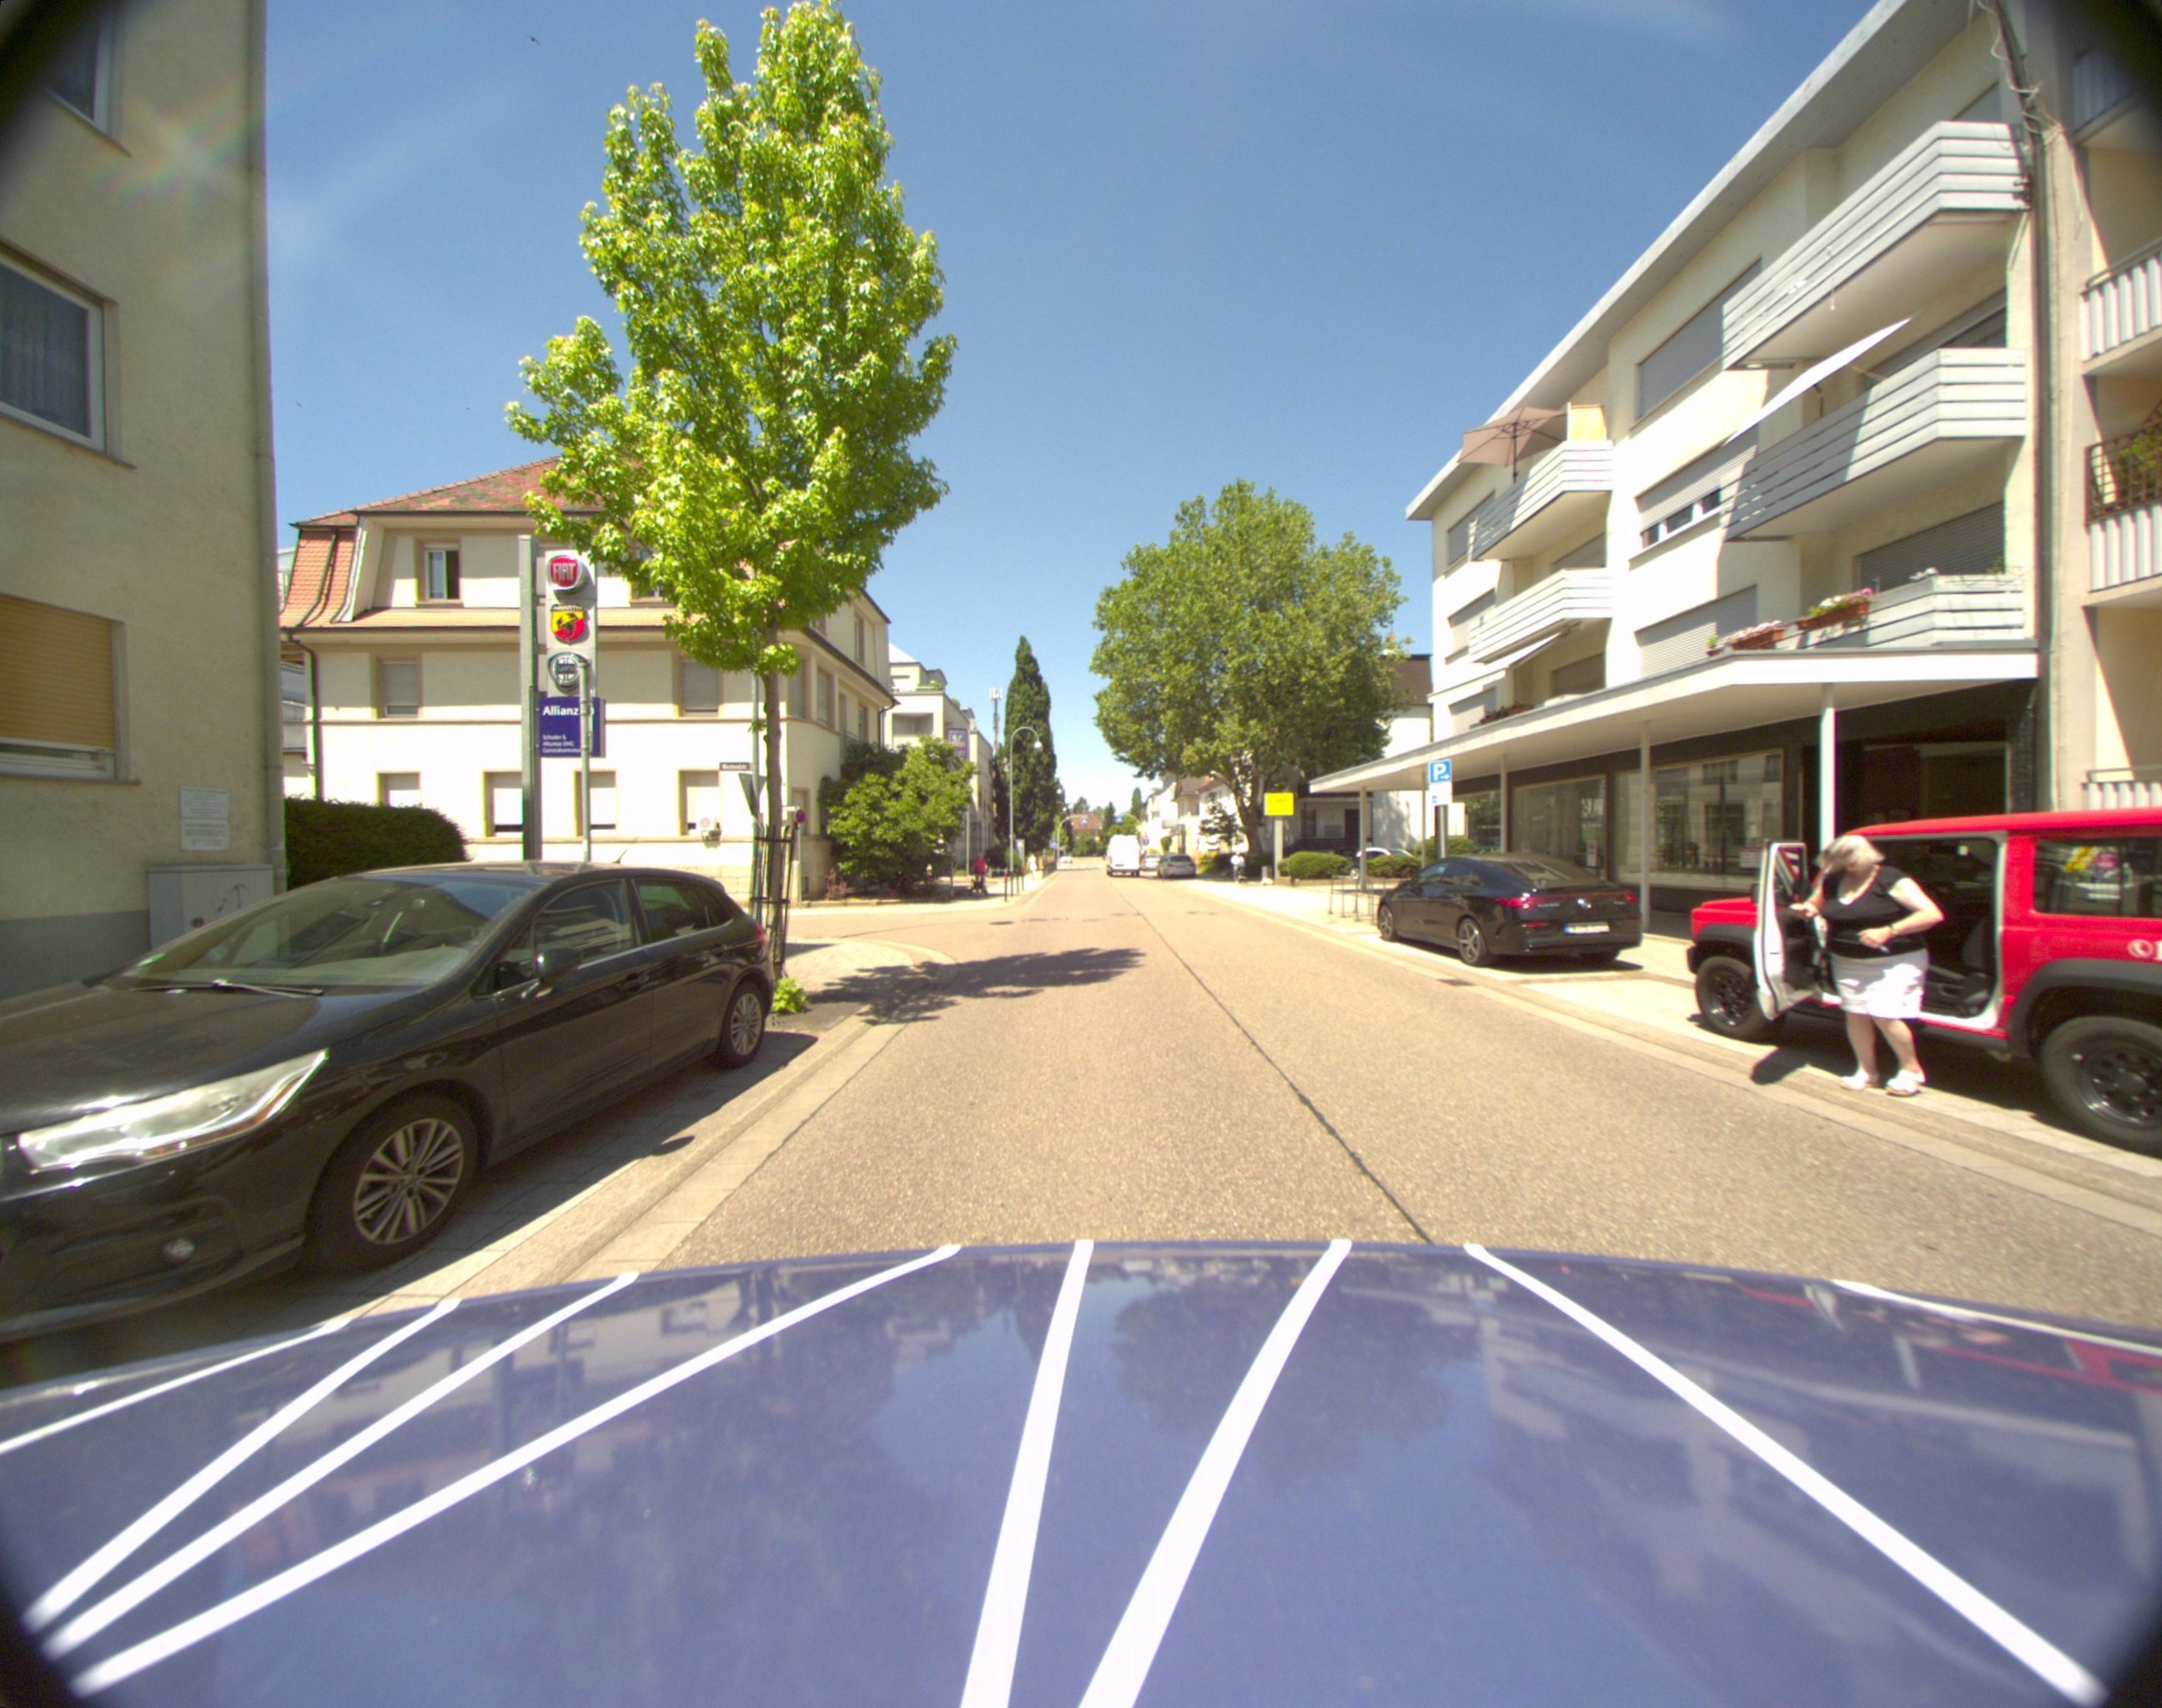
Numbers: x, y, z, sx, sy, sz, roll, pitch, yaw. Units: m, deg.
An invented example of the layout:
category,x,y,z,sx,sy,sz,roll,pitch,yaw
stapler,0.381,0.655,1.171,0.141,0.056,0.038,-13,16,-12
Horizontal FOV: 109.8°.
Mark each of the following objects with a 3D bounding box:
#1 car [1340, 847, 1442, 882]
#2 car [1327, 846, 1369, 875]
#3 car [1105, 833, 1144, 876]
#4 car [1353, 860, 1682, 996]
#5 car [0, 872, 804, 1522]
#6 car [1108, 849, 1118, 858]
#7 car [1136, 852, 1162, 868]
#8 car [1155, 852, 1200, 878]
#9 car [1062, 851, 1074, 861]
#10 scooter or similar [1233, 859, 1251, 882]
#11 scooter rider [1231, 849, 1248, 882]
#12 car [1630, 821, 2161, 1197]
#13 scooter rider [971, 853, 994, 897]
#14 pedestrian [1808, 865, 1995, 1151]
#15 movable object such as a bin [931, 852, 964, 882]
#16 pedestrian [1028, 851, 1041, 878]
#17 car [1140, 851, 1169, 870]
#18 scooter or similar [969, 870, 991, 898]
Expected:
category,x,y,z,sx,sy,sz,roll,pitch,yaw
car,14.000,0.447,34.547,1.900,1.478,3.986,-1,0,-30
car,14.976,0.316,42.865,1.809,1.536,4.109,0,1,13
car,2.823,0.028,51.109,2.042,2.614,7.106,1,0,-1
car,5.896,0.867,11.202,1.901,1.409,5.047,-3,0,0
car,-3.361,0.880,4.106,1.900,1.430,4.544,0,0,2
car,6.849,-0.141,162.425,1.925,1.681,4.287,-3,0,2
car,6.224,0.550,69.961,1.947,1.365,5.098,-1,0,1
car,5.815,0.626,46.276,1.986,1.444,5.150,-2,0,0
car,-2.070,0.319,123.814,1.920,1.460,4.880,0,0,0
scooter or similar,7.823,0.797,36.916,0.665,1.092,1.028,-3,0,2
scooter rider,7.829,0.576,37.530,0.590,1.566,0.877,-3,0,2
car,5.797,0.682,4.725,1.757,1.692,4.101,-3,0,0
scooter rider,-3.556,0.751,27.437,0.718,1.540,0.770,1,1,-1
pedestrian,4.958,0.840,4.600,0.730,1.525,0.725,-1,1,-40
movable object such as a bin,-6.987,0.662,39.853,1.371,1.450,1.380,3,1,2
pedestrian,-2.812,0.621,45.785,0.702,1.617,0.783,2,1,-1
car,6.139,0.527,63.892,1.986,1.444,5.357,-2,0,1
scooter or similar,-3.551,1.052,26.800,0.665,0.957,0.754,1,1,0
